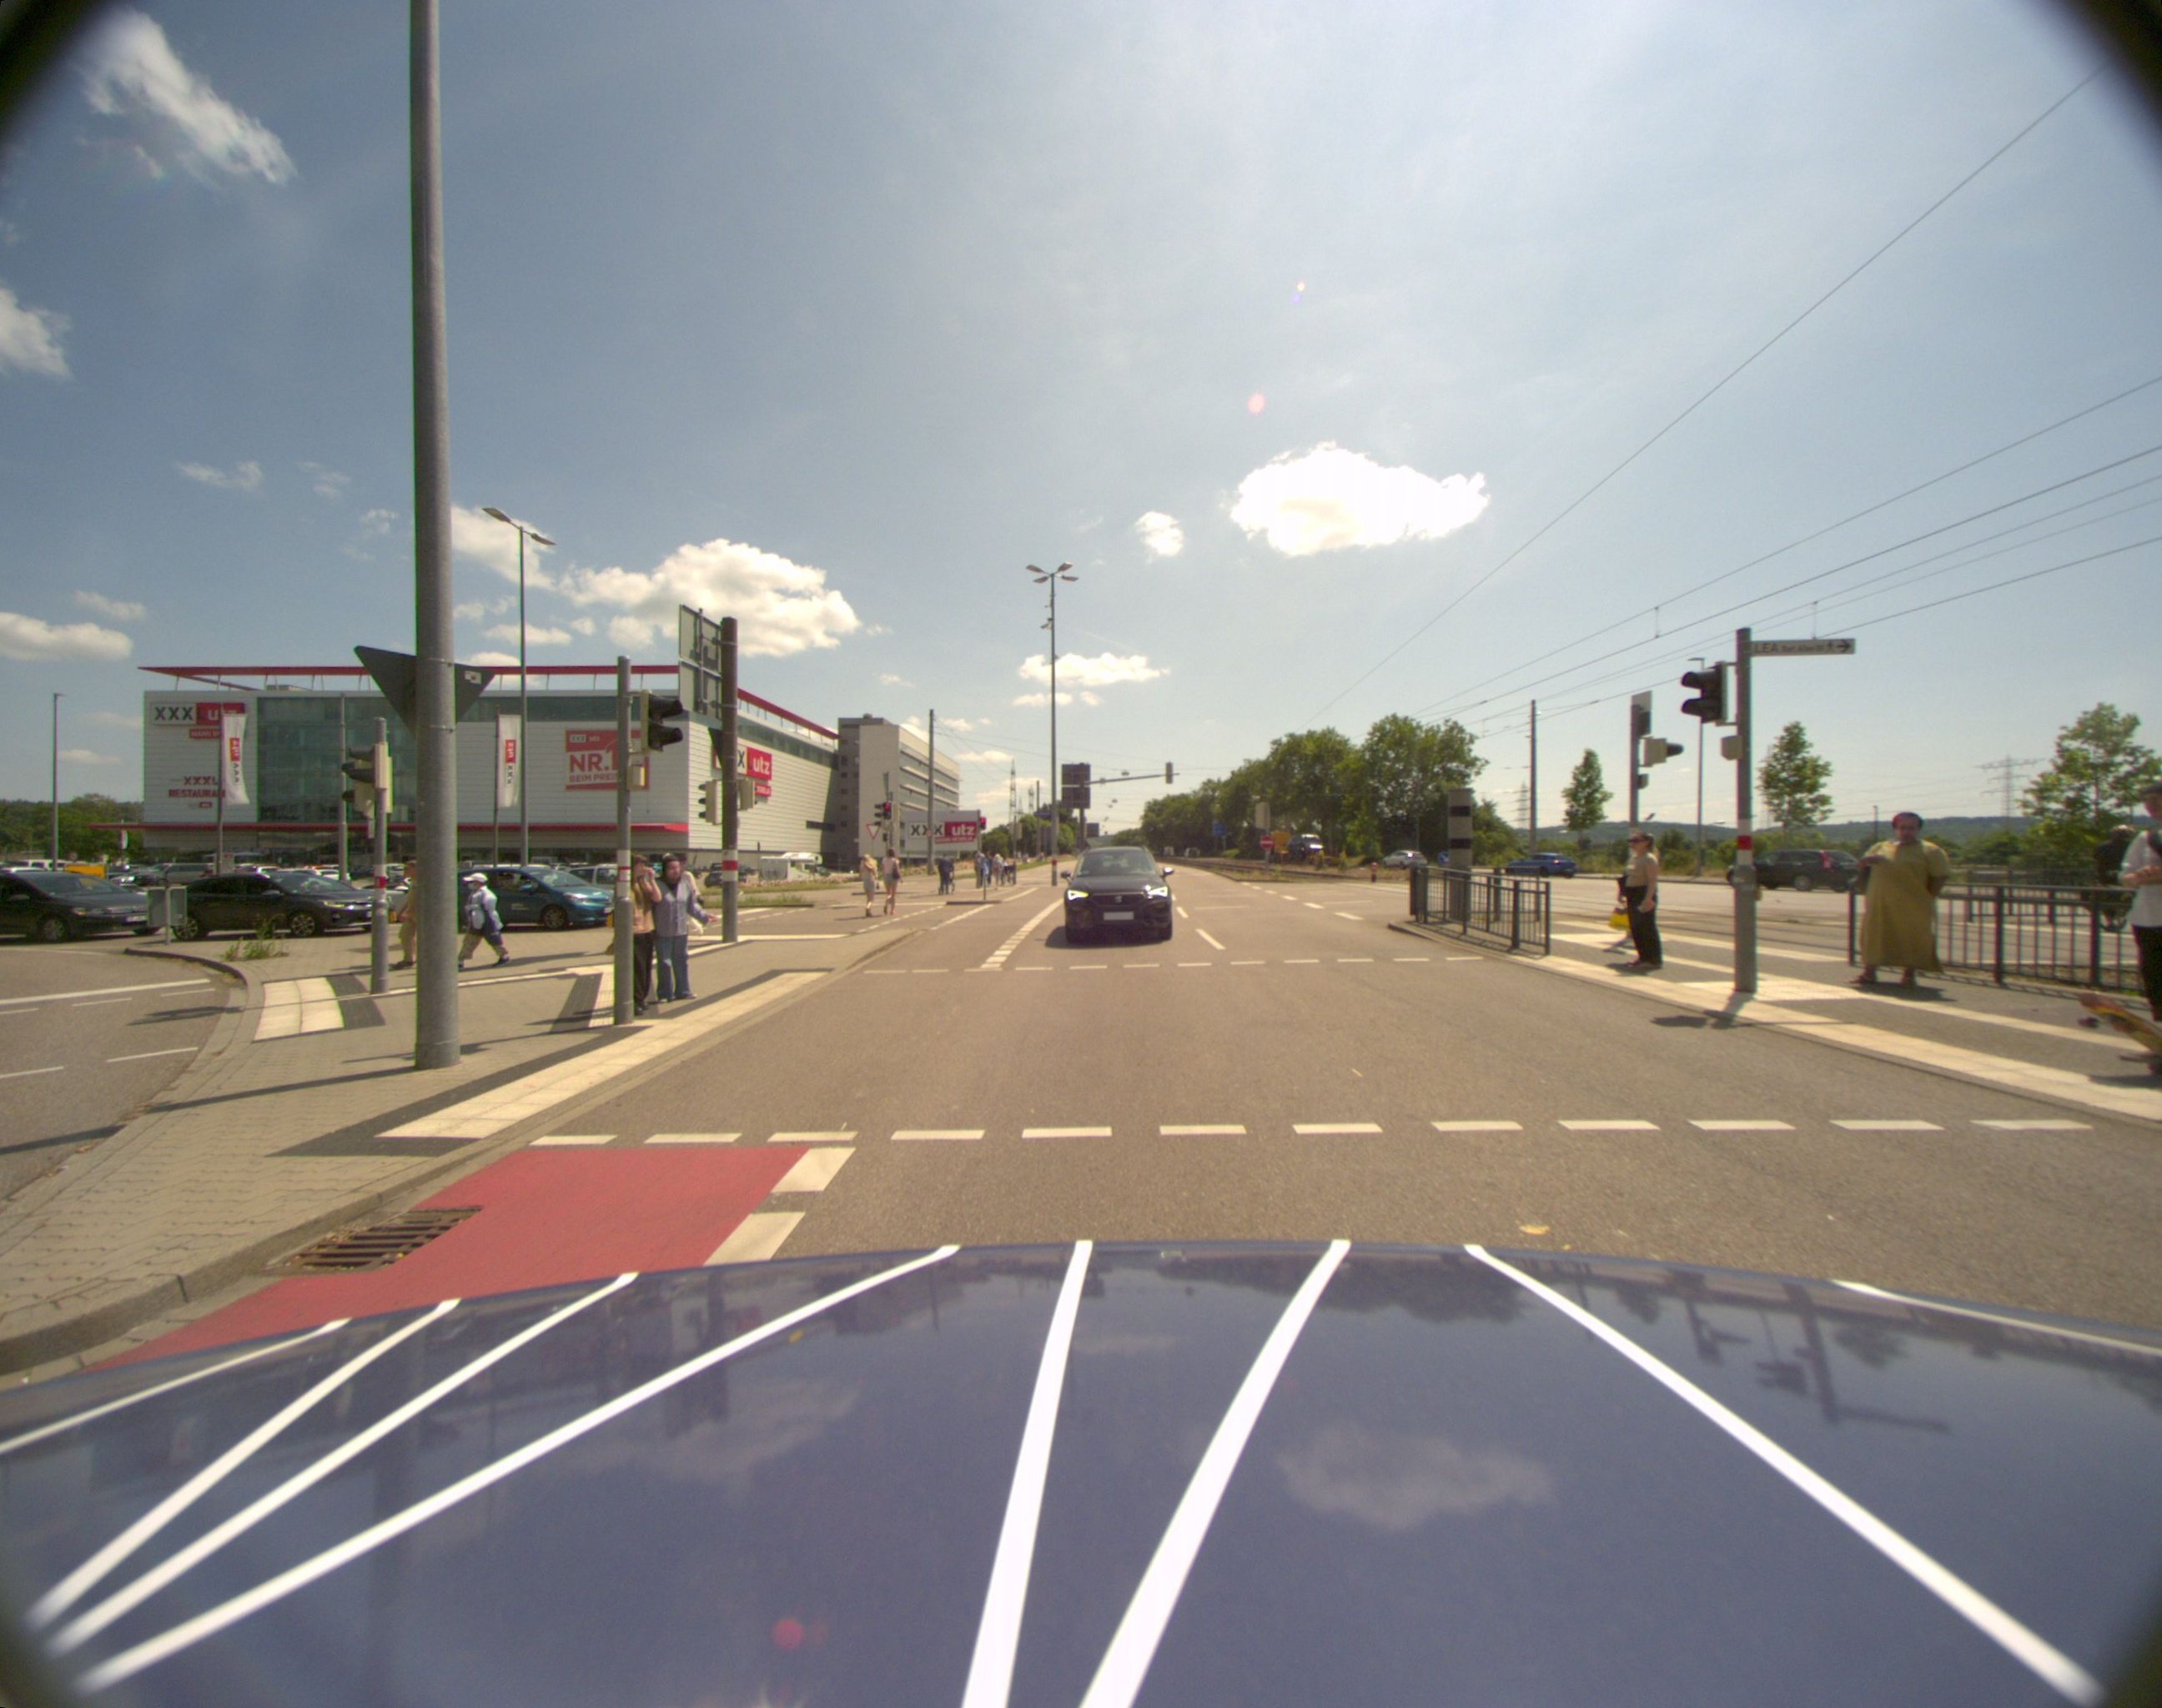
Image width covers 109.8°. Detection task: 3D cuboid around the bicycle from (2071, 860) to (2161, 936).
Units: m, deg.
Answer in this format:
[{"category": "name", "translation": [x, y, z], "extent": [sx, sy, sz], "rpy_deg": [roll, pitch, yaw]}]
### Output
[{"category": "bicycle", "translation": [17.044, 0.677, 12.163], "extent": [1.979, 1.094, 0.763], "rpy_deg": [-2, 1, -15]}]

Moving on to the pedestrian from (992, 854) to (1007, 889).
[{"category": "pedestrian", "translation": [-3.518, 0.762, 32.749], "extent": [0.591, 1.467, 0.805], "rpy_deg": [-2, 1, -6]}]

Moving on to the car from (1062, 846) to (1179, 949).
[{"category": "car", "translation": [0.697, 0.672, 14.086], "extent": [1.819, 1.583, 4.000], "rpy_deg": [-2, 1, 2]}]

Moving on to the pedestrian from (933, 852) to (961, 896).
[{"category": "pedestrian", "translation": [-5.248, 0.778, 29.889], "extent": [0.783, 1.663, 0.947], "rpy_deg": [-1, 1, 8]}]

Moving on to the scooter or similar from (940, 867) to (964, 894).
[{"category": "scooter or similar", "translation": [-5.166, 1.051, 30.411], "extent": [0.691, 1.025, 0.863], "rpy_deg": [-1, 1, 7]}]

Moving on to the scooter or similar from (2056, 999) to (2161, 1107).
[{"category": "scooter or similar", "translation": [6.406, 1.162, 4.490], "extent": [0.728, 0.503, 0.457], "rpy_deg": [-1, 0, -3]}]

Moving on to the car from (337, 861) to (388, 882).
[{"category": "car", "translation": [-81.080, 1.956, 85.849], "extent": [1.692, 2.243, 4.001], "rpy_deg": [-2, 1, 4]}]

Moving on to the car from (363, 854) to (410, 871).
[{"category": "car", "translation": [-86.724, 1.084, 94.952], "extent": [1.849, 2.002, 4.287], "rpy_deg": [-1, 0, 3]}]

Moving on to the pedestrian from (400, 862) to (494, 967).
[{"category": "pedestrian", "translation": [-10.527, 0.975, 12.639], "extent": [0.796, 1.649, 0.853], "rpy_deg": [-1, 1, 18]}]

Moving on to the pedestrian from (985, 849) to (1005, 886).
[{"category": "pedestrian", "translation": [-4.224, 0.660, 37.119], "extent": [0.806, 1.749, 0.796], "rpy_deg": [-2, 1, -15]}]

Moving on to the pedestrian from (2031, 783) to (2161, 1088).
[{"category": "pedestrian", "translation": [6.769, 0.472, 4.634], "extent": [0.865, 1.792, 0.883], "rpy_deg": [-1, 1, -3]}]

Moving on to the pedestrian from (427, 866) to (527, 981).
[{"category": "pedestrian", "translation": [-9.223, 1.028, 11.627], "extent": [0.796, 1.649, 0.853], "rpy_deg": [-1, 1, 18]}]

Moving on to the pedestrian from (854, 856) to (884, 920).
[{"category": "pedestrian", "translation": [-5.362, 0.854, 19.249], "extent": [0.528, 1.571, 0.612], "rpy_deg": [-1, 1, 5]}]

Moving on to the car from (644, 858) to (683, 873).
[{"category": "car", "translation": [-51.083, 1.371, 93.102], "extent": [1.998, 1.683, 4.520], "rpy_deg": [-2, 1, 3]}]

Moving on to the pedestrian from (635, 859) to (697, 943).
[{"category": "pedestrian", "translation": [-8.446, 0.936, 15.481], "extent": [0.603, 1.628, 0.864], "rpy_deg": [-1, 2, 15]}]

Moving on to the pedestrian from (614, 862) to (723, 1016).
[{"category": "pedestrian", "translation": [-4.649, 0.902, 8.564], "extent": [0.894, 1.597, 0.769], "rpy_deg": [0, 1, 41]}]

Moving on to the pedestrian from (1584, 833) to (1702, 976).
[{"category": "pedestrian", "translation": [6.481, 0.558, 8.801], "extent": [0.787, 1.563, 0.764], "rpy_deg": [-1, 1, -3]}]

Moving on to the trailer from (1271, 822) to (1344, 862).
[{"category": "trailer", "translation": [23.836, -1.200, 81.317], "extent": [3.123, 3.848, 15.481], "rpy_deg": [-1, 0, 0]}]

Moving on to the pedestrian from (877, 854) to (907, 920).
[{"category": "pedestrian", "translation": [-4.850, 0.833, 19.532], "extent": [0.528, 1.656, 0.640], "rpy_deg": [-1, 1, 5]}]

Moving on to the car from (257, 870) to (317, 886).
[{"category": "car", "translation": [-81.617, 2.448, 78.170], "extent": [1.692, 1.518, 4.001], "rpy_deg": [-2, 1, 4]}]

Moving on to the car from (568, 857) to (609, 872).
[{"category": "car", "translation": [-60.101, 1.243, 92.853], "extent": [1.998, 1.683, 4.519], "rpy_deg": [-2, 1, 1]}]

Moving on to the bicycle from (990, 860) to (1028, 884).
[{"category": "bicycle", "translation": [-3.573, 0.887, 37.663], "extent": [1.873, 1.155, 0.833], "rpy_deg": [-1, 0, 43]}]

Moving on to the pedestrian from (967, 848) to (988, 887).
[{"category": "pedestrian", "translation": [-5.004, 0.659, 36.880], "extent": [0.805, 1.854, 0.798], "rpy_deg": [-1, 1, 5]}]

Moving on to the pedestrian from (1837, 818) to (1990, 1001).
[{"category": "pedestrian", "translation": [7.971, 0.504, 7.304], "extent": [0.734, 1.663, 0.678], "rpy_deg": [-1, 1, -3]}]

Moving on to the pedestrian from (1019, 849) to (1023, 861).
[{"category": "pedestrian", "translation": [-8.698, 0.181, 110.191], "extent": [0.518, 1.783, 0.634], "rpy_deg": [-1, 1, 1]}]

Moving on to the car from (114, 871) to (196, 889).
[{"category": "car", "translation": [-82.436, 2.270, 67.719], "extent": [1.858, 1.404, 4.256], "rpy_deg": [-1, 1, 4]}]

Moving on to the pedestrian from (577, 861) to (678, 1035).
[{"category": "pedestrian", "translation": [-4.663, 0.915, 7.821], "extent": [0.724, 1.673, 0.626], "rpy_deg": [0, 1, 38]}]

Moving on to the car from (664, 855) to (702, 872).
[{"category": "car", "translation": [-48.637, 1.179, 92.886], "extent": [1.998, 1.911, 4.520], "rpy_deg": [-2, 1, 3]}]

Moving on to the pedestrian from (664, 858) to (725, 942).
[{"category": "pedestrian", "translation": [-7.823, 0.917, 15.409], "extent": [0.606, 1.628, 0.864], "rpy_deg": [-1, 2, 15]}]

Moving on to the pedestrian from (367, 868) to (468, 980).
[{"category": "pedestrian", "translation": [-10.337, 1.060, 11.858], "extent": [0.796, 1.649, 0.853], "rpy_deg": [-1, 1, 18]}]

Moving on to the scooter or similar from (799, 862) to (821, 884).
[{"category": "scooter or similar", "translation": [-16.568, 1.163, 46.458], "extent": [0.479, 1.283, 1.281], "rpy_deg": [-1, 1, 20]}]
